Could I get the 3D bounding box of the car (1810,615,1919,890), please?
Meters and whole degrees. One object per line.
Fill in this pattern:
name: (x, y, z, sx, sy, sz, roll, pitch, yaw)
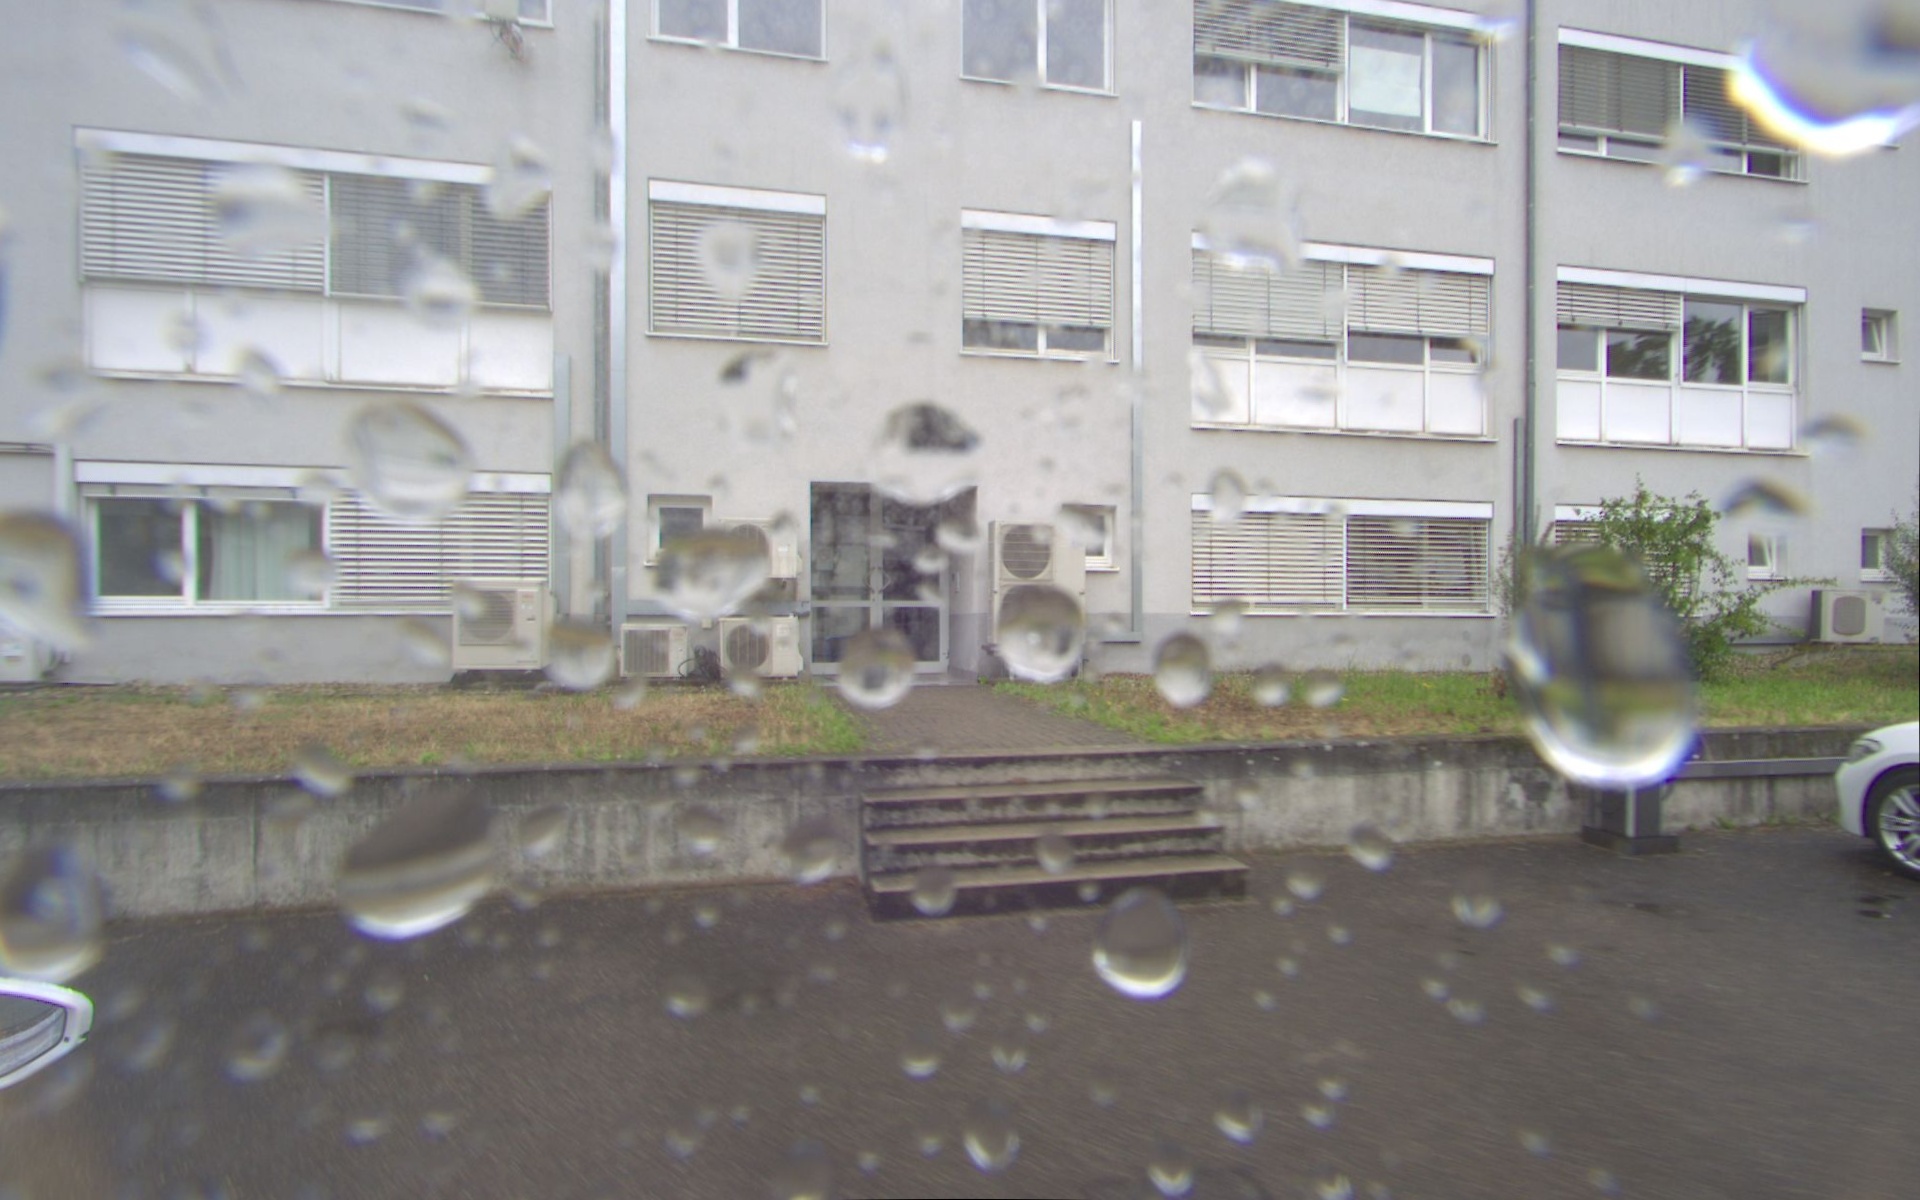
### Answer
car: (6.501, 0.825, 4.189, 1.962, 1.509, 4.219, 1, -1, -10)
